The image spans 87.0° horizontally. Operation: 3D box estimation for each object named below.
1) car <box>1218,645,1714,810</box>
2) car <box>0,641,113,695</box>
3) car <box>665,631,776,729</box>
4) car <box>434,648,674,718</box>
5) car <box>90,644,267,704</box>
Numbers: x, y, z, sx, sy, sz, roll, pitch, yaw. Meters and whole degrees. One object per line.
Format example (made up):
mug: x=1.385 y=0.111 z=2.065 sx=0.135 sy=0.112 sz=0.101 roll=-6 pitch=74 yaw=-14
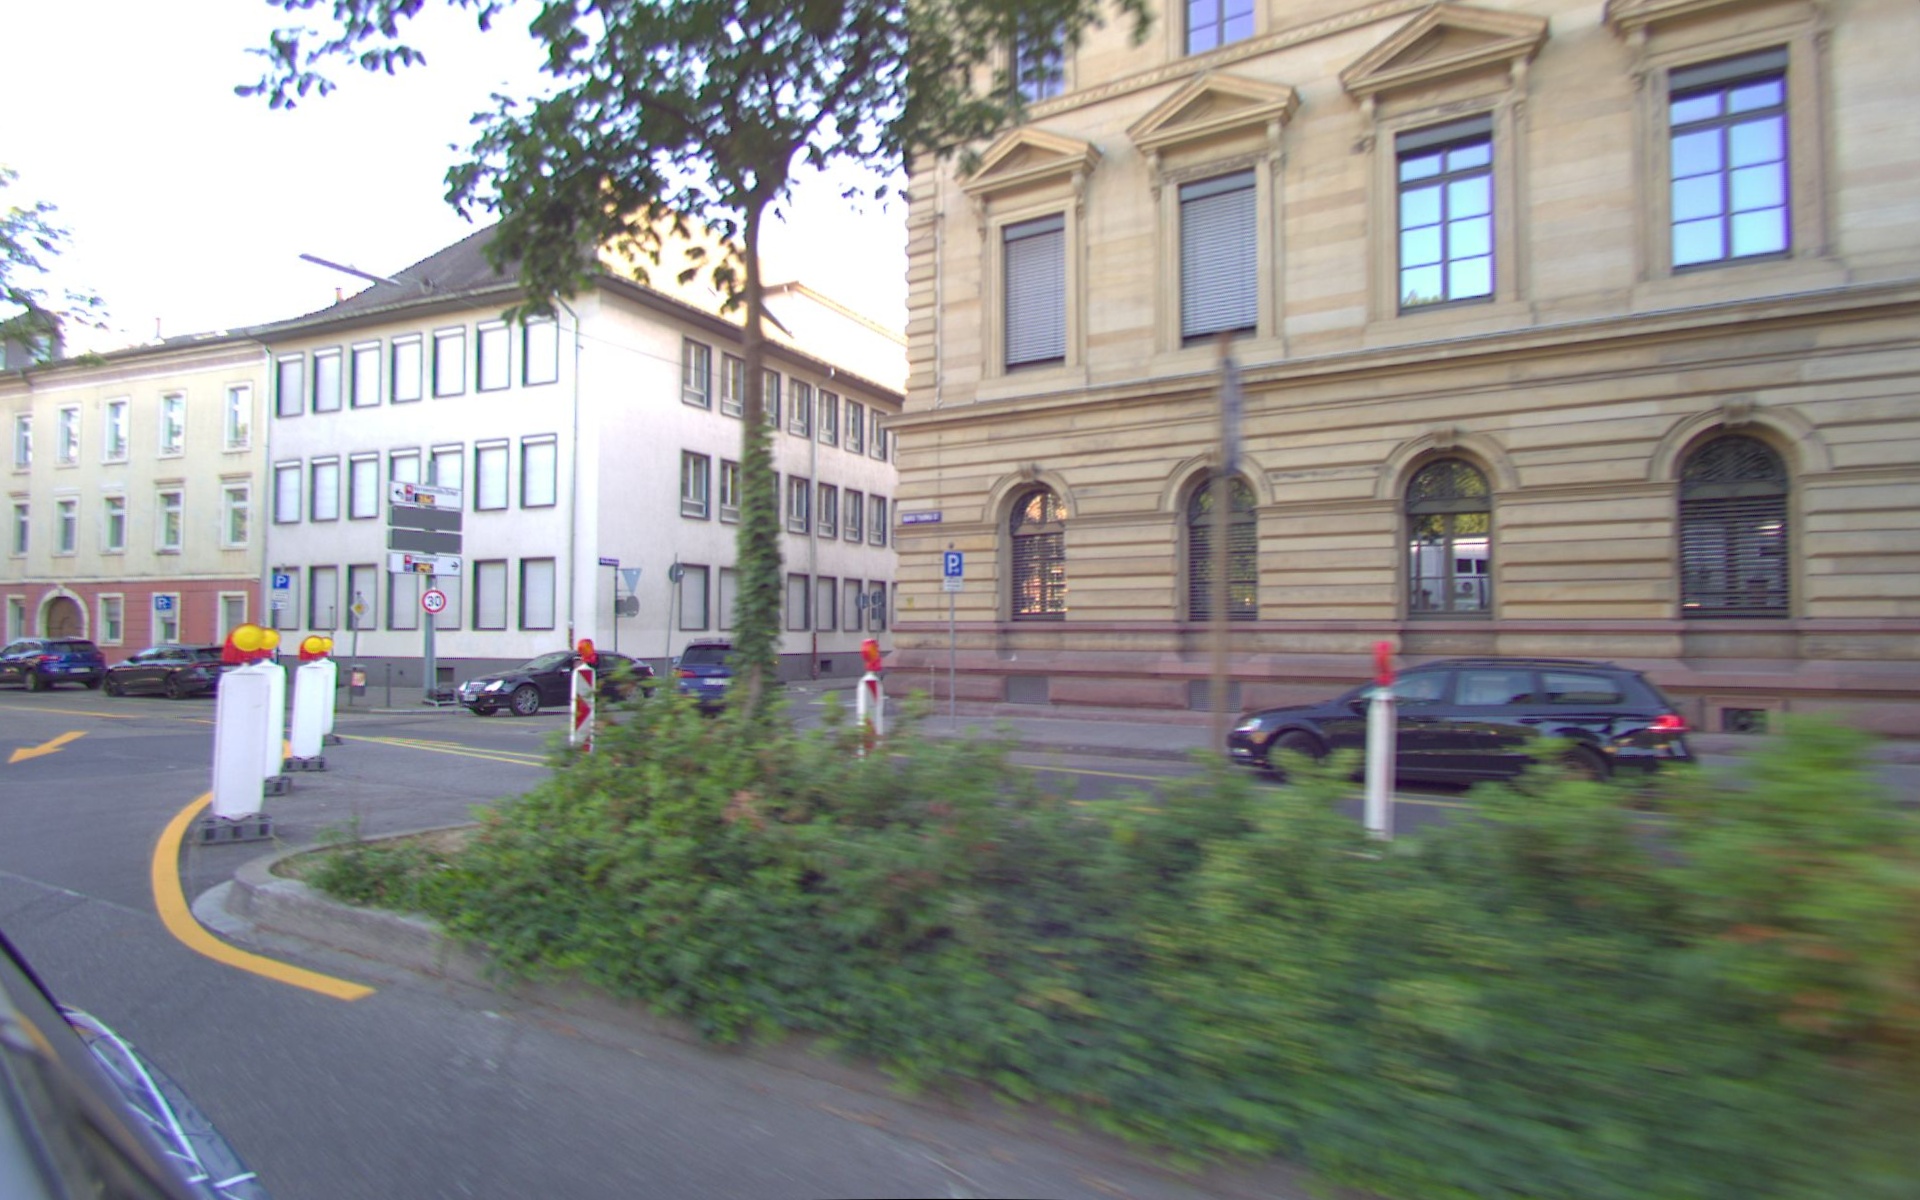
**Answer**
car: x=5.447 y=1.288 z=11.366 sx=4.628 sy=1.519 sz=1.865 roll=-2 pitch=-5 yaw=32
car: x=-28.464 y=2.049 z=31.249 sx=4.126 sy=1.583 sz=1.794 roll=-1 pitch=-3 yaw=22
car: x=-4.812 y=1.535 z=19.967 sx=1.851 sy=1.683 sz=4.668 roll=2 pitch=-4 yaw=-16
car: x=-8.778 y=1.745 z=22.313 sx=1.762 sy=1.333 sz=4.719 roll=-2 pitch=-3 yaw=34
car: x=-22.041 y=2.029 z=28.538 sx=4.756 sy=1.519 sz=1.867 roll=-1 pitch=-1 yaw=23
